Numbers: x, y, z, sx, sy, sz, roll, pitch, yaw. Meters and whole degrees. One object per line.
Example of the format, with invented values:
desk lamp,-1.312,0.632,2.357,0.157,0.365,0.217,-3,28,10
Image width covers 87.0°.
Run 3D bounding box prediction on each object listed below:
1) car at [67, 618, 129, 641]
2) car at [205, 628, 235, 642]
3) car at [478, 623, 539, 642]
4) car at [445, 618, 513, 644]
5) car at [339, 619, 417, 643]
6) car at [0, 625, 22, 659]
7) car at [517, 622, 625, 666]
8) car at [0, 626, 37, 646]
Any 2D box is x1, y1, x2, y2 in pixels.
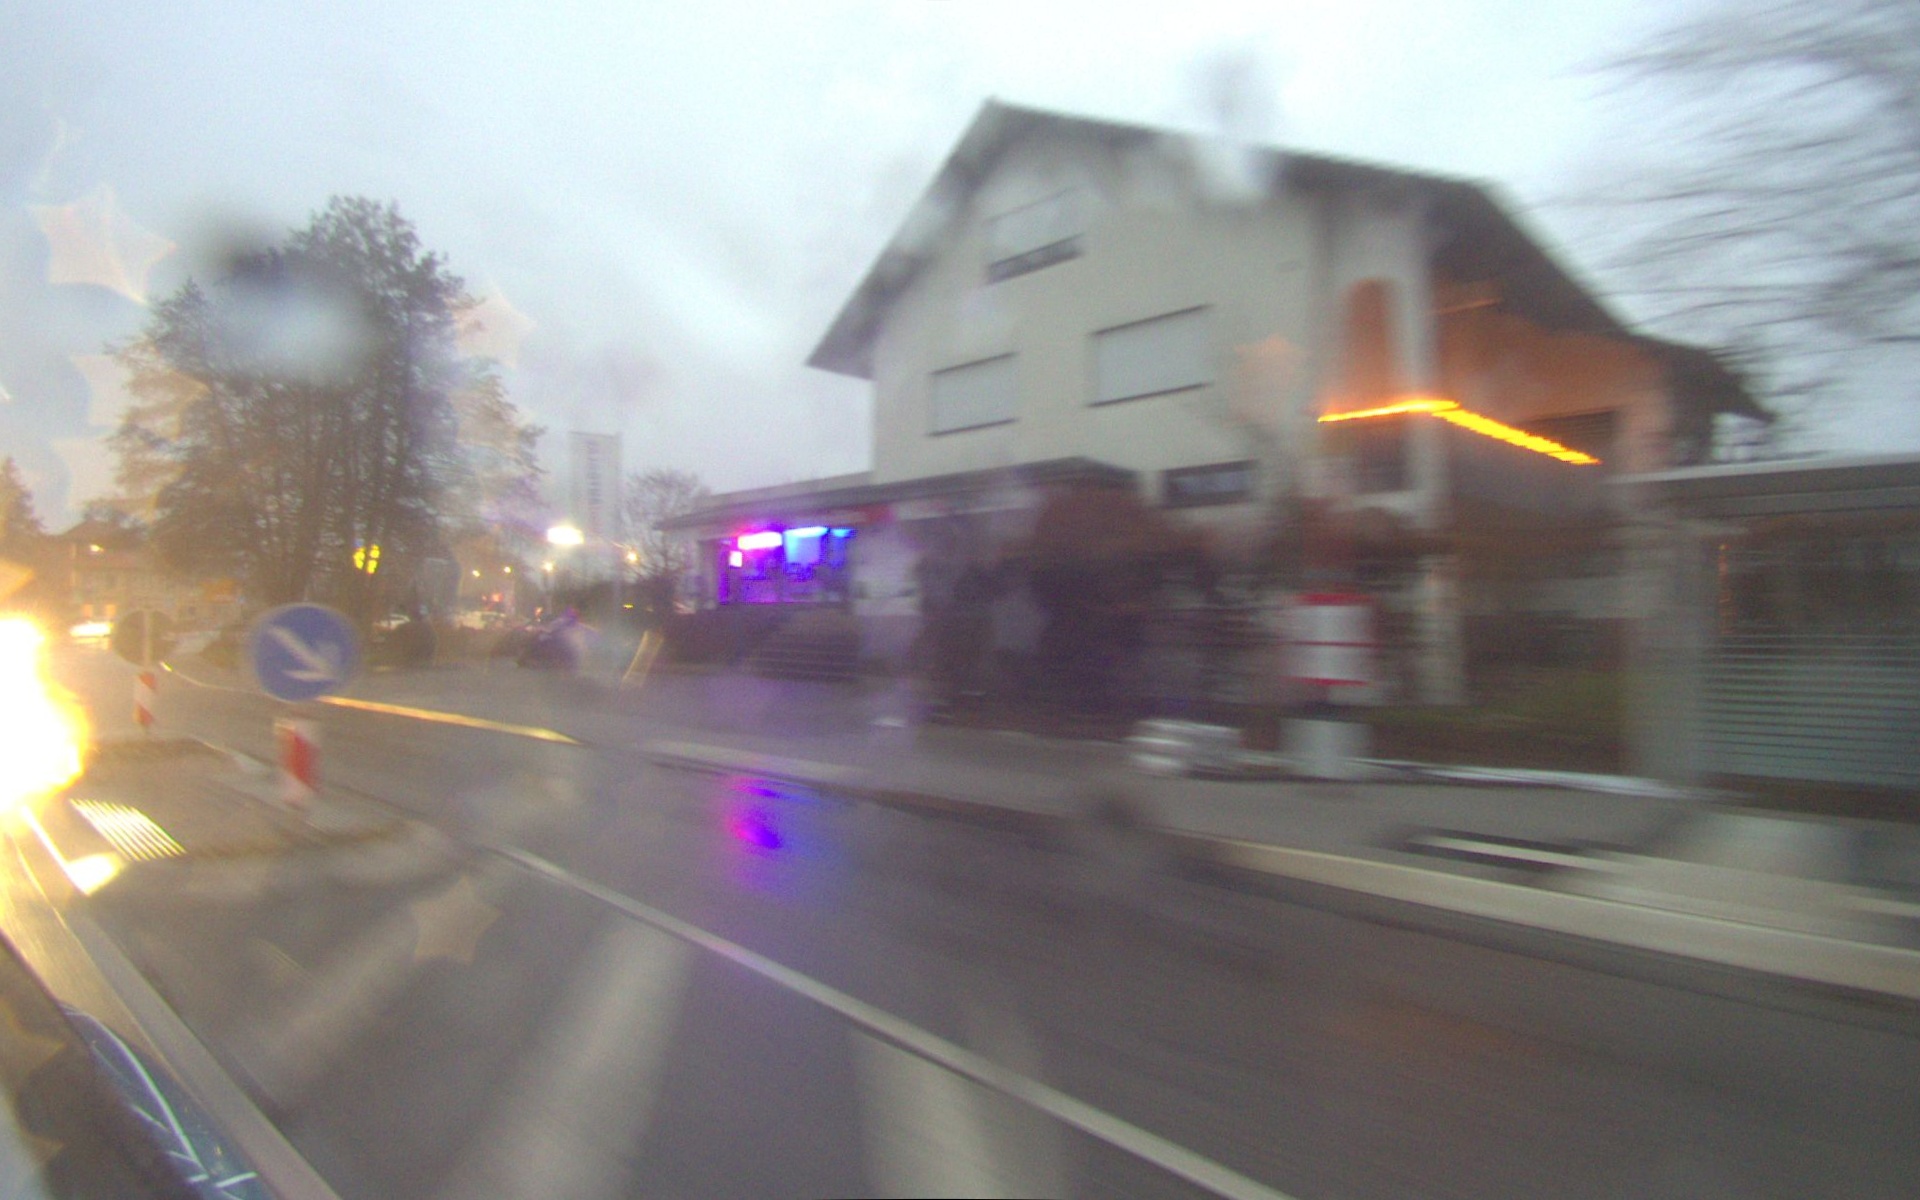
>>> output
car,-68.550,2.352,80.441,4.386,1.736,1.766,-1,-2,19
car,-83.461,3.946,114.179,1.746,1.442,3.808,-1,-2,-21
car,-39.487,2.893,88.506,2.056,1.575,4.380,-3,-4,44
car,-44.471,2.886,93.633,2.219,2.300,5.127,-3,-5,44
car,-44.243,2.346,76.995,2.033,1.725,4.717,-2,-2,43
car,-44.022,1.900,45.925,1.969,1.484,4.006,0,-2,-41
car,-19.386,2.172,50.609,2.126,1.992,4.600,-3,-1,39
car,-75.101,2.825,79.270,3.976,1.506,1.781,1,-2,-37
